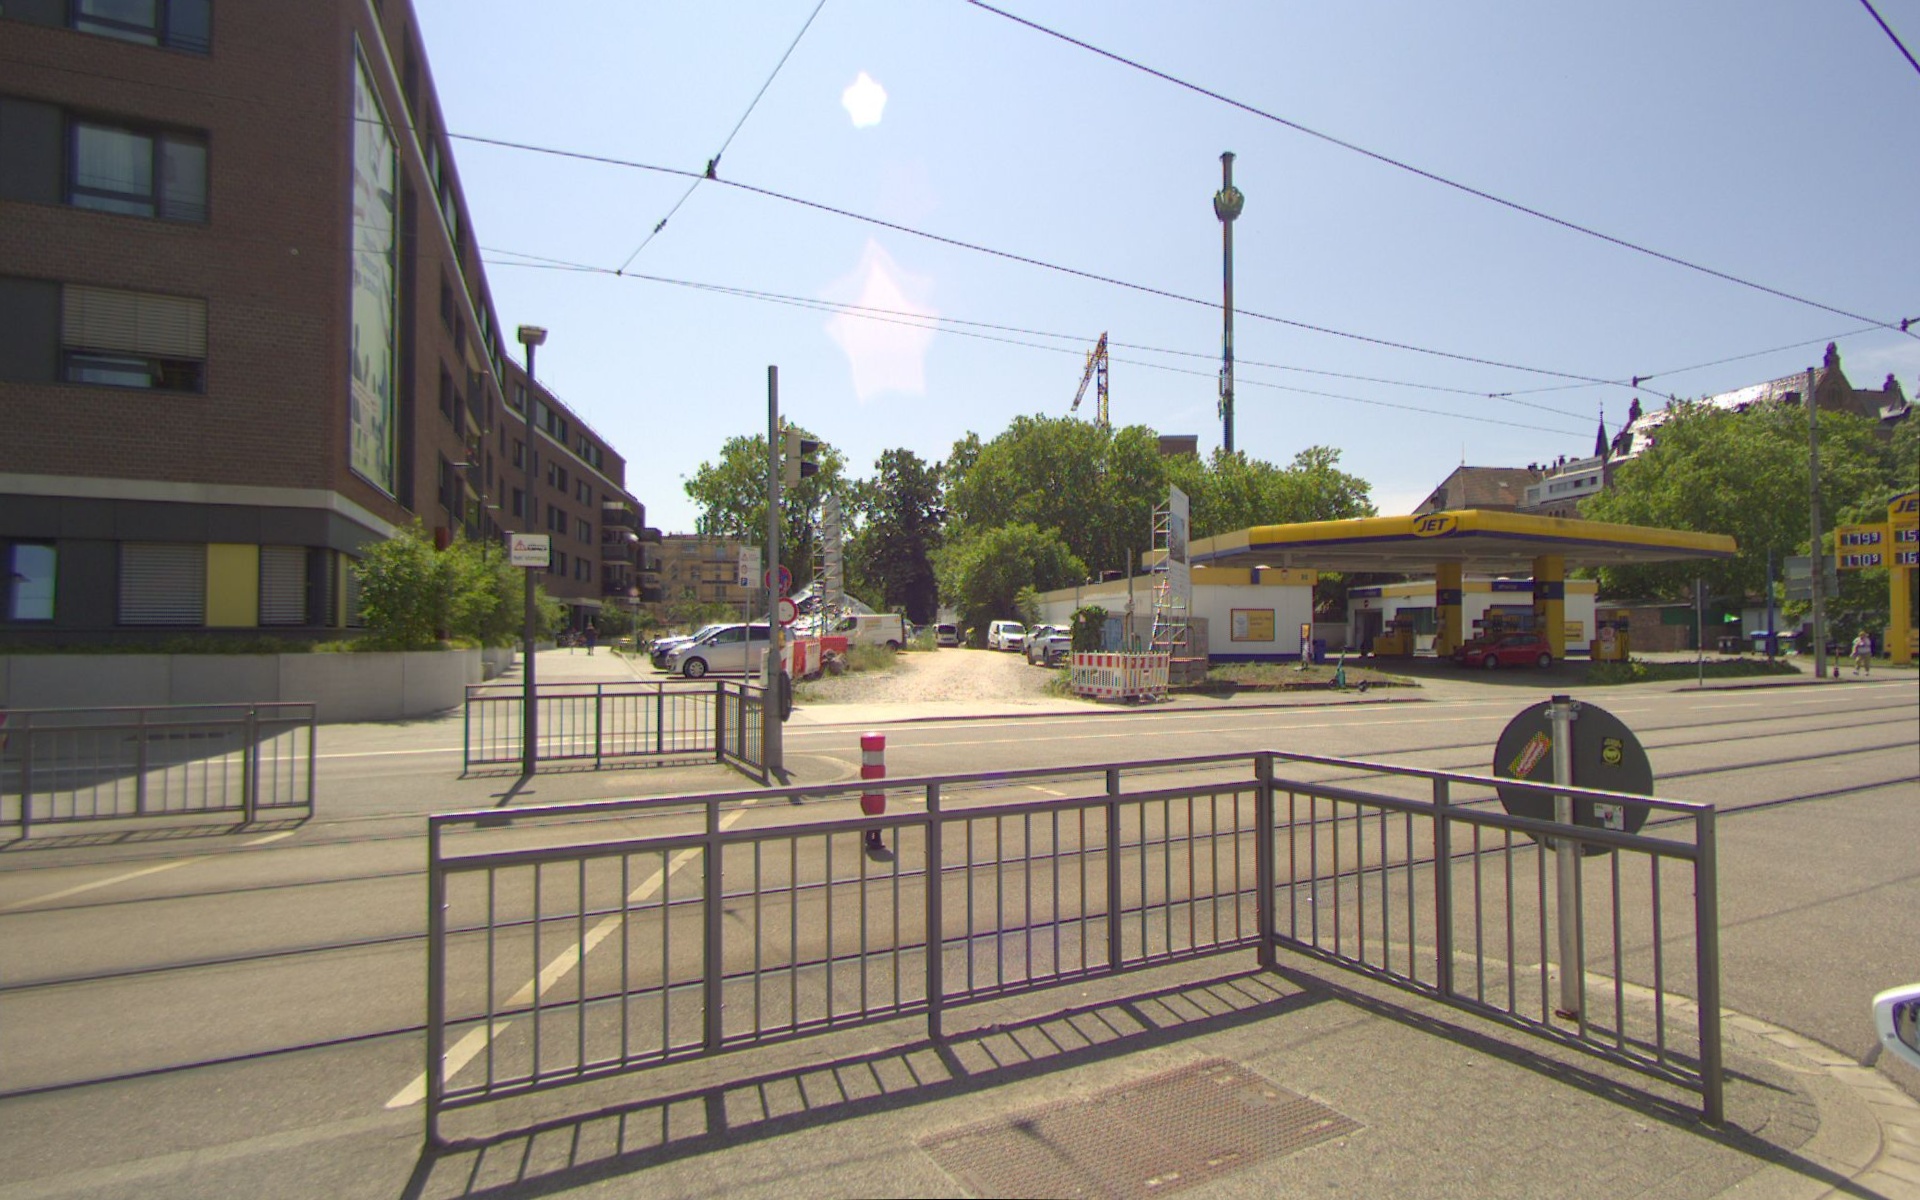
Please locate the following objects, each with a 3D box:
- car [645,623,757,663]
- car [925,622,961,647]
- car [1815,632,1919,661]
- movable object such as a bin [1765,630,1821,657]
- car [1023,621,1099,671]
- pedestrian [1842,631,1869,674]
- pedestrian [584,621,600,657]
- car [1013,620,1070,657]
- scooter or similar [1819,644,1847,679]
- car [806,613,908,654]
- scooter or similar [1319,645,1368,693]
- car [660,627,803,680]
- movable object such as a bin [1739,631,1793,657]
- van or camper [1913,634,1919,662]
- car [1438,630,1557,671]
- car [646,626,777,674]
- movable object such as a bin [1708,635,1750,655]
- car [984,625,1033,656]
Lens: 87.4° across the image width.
[{"bbox_3d":[-9.954,1.637,38.573,3.944,1.487,1.727,1,-2,-24],"label":"car"},{"bbox_3d":[-1.274,2.454,72.593,1.964,1.685,4.270,1,-1,-10],"label":"car"},{"bbox_3d":[51.121,2.579,56.401,4.361,1.508,1.936,1,-1,6],"label":"car"},{"bbox_3d":[48.713,2.523,58.743,2.062,1.529,1.523,1,0,-10],"label":"movable object such as a bin"},{"bbox_3d":[3.842,1.716,38.894,1.858,1.769,4.270,1,-1,-10],"label":"car"},{"bbox_3d":[36.045,2.116,40.422,0.714,1.713,0.622,1,-2,-31],"label":"pedestrian"},{"bbox_3d":[-17.342,1.831,47.325,0.675,1.685,0.603,1,0,-17],"label":"pedestrian"},{"bbox_3d":[4.224,2.000,52.875,1.964,1.805,4.270,1,-1,-10],"label":"car"},{"bbox_3d":[32.121,2.256,36.951,1.364,1.216,0.515,1,-1,-37],"label":"scooter or similar"},{"bbox_3d":[-5.071,1.662,49.645,4.744,1.930,1.729,1,-2,-22],"label":"car"},{"bbox_3d":[10.472,1.884,27.434,1.219,1.281,0.345,1,0,-9],"label":"scooter or similar"},{"bbox_3d":[-6.824,1.558,29.945,3.942,1.488,1.728,1,-1,-22],"label":"car"},{"bbox_3d":[48.417,2.635,60.370,2.062,1.451,1.523,1,0,-10],"label":"movable object such as a bin"},{"bbox_3d":[58.984,2.881,59.220,1.852,1.651,3.761,0,0,-33],"label":"van or camper"},{"bbox_3d":[22.260,2.060,41.644,4.124,1.525,1.828,0,0,-11],"label":"car"},{"bbox_3d":[-8.100,1.597,32.727,3.944,1.487,1.727,1,-2,-24],"label":"car"},{"bbox_3d":[47.653,2.770,62.233,1.536,1.153,1.406,1,-1,-9],"label":"movable object such as a bin"},{"bbox_3d":[2.777,2.344,58.653,1.964,1.685,4.270,1,-1,-10],"label":"car"}]
